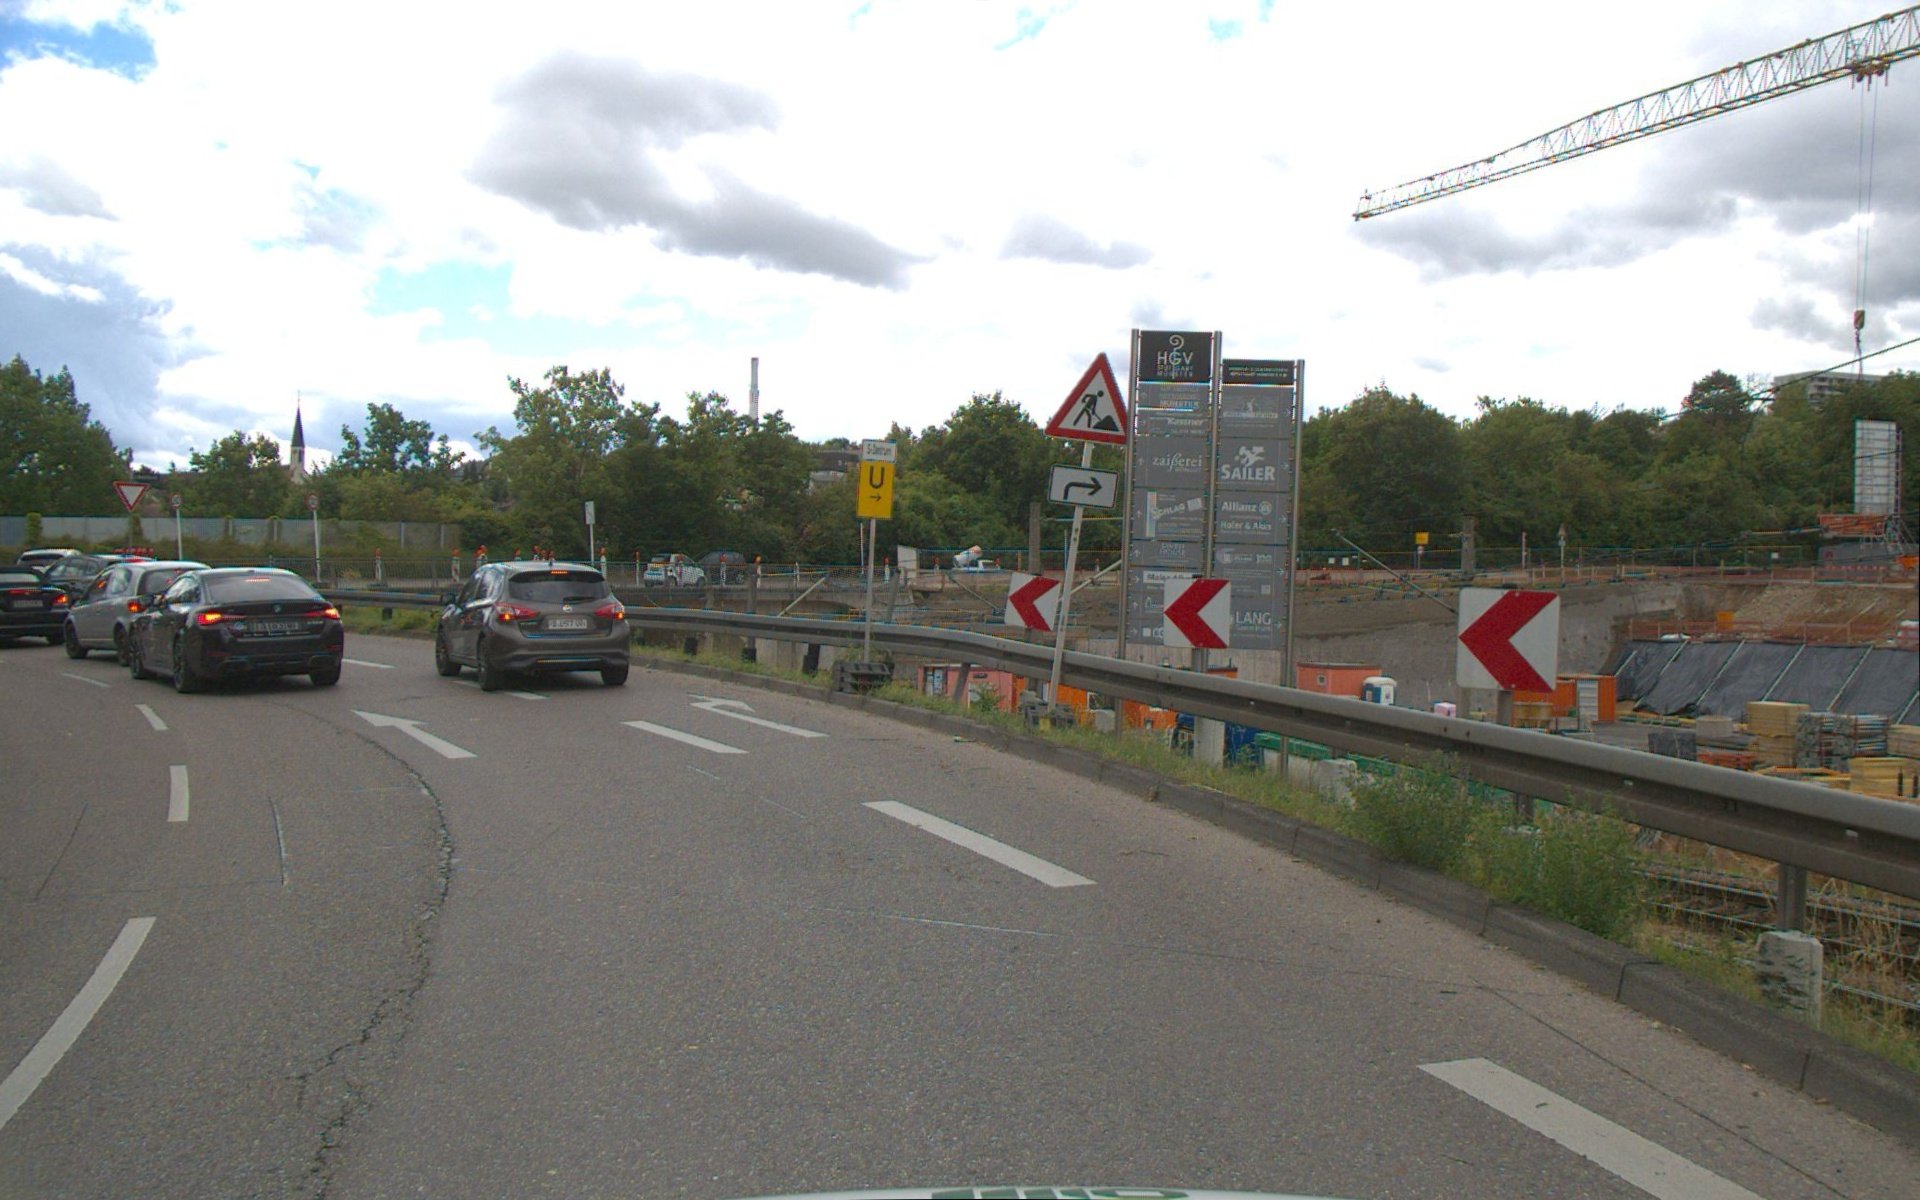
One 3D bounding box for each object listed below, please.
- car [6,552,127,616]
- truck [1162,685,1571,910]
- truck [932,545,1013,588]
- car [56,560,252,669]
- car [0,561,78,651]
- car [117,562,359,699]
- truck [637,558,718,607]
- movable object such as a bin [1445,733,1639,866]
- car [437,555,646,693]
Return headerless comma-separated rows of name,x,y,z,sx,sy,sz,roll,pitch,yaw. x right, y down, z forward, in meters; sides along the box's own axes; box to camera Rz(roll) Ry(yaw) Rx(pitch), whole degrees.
car,-24.985,-0.432,46.403,1.680,1.704,3.992,0,0,-8
truck,9.983,4.709,42.691,2.810,3.960,11.494,1,2,-32
truck,0.677,-1.785,87.836,3.961,2.049,1.972,3,-1,-40
car,-12.585,0.169,25.748,1.662,1.495,3.569,-4,4,-44
car,-17.350,0.061,29.423,4.009,1.391,1.560,3,5,41
car,-9.489,0.289,21.500,1.858,1.502,4.901,-2,3,-36
truck,-12.692,-0.775,74.455,1.707,2.049,3.212,2,-1,38
movable object such as a bin,15.611,5.283,44.646,2.987,2.796,4.271,1,3,-15
car,-5.459,0.222,21.246,1.776,1.579,3.965,-1,2,-27
